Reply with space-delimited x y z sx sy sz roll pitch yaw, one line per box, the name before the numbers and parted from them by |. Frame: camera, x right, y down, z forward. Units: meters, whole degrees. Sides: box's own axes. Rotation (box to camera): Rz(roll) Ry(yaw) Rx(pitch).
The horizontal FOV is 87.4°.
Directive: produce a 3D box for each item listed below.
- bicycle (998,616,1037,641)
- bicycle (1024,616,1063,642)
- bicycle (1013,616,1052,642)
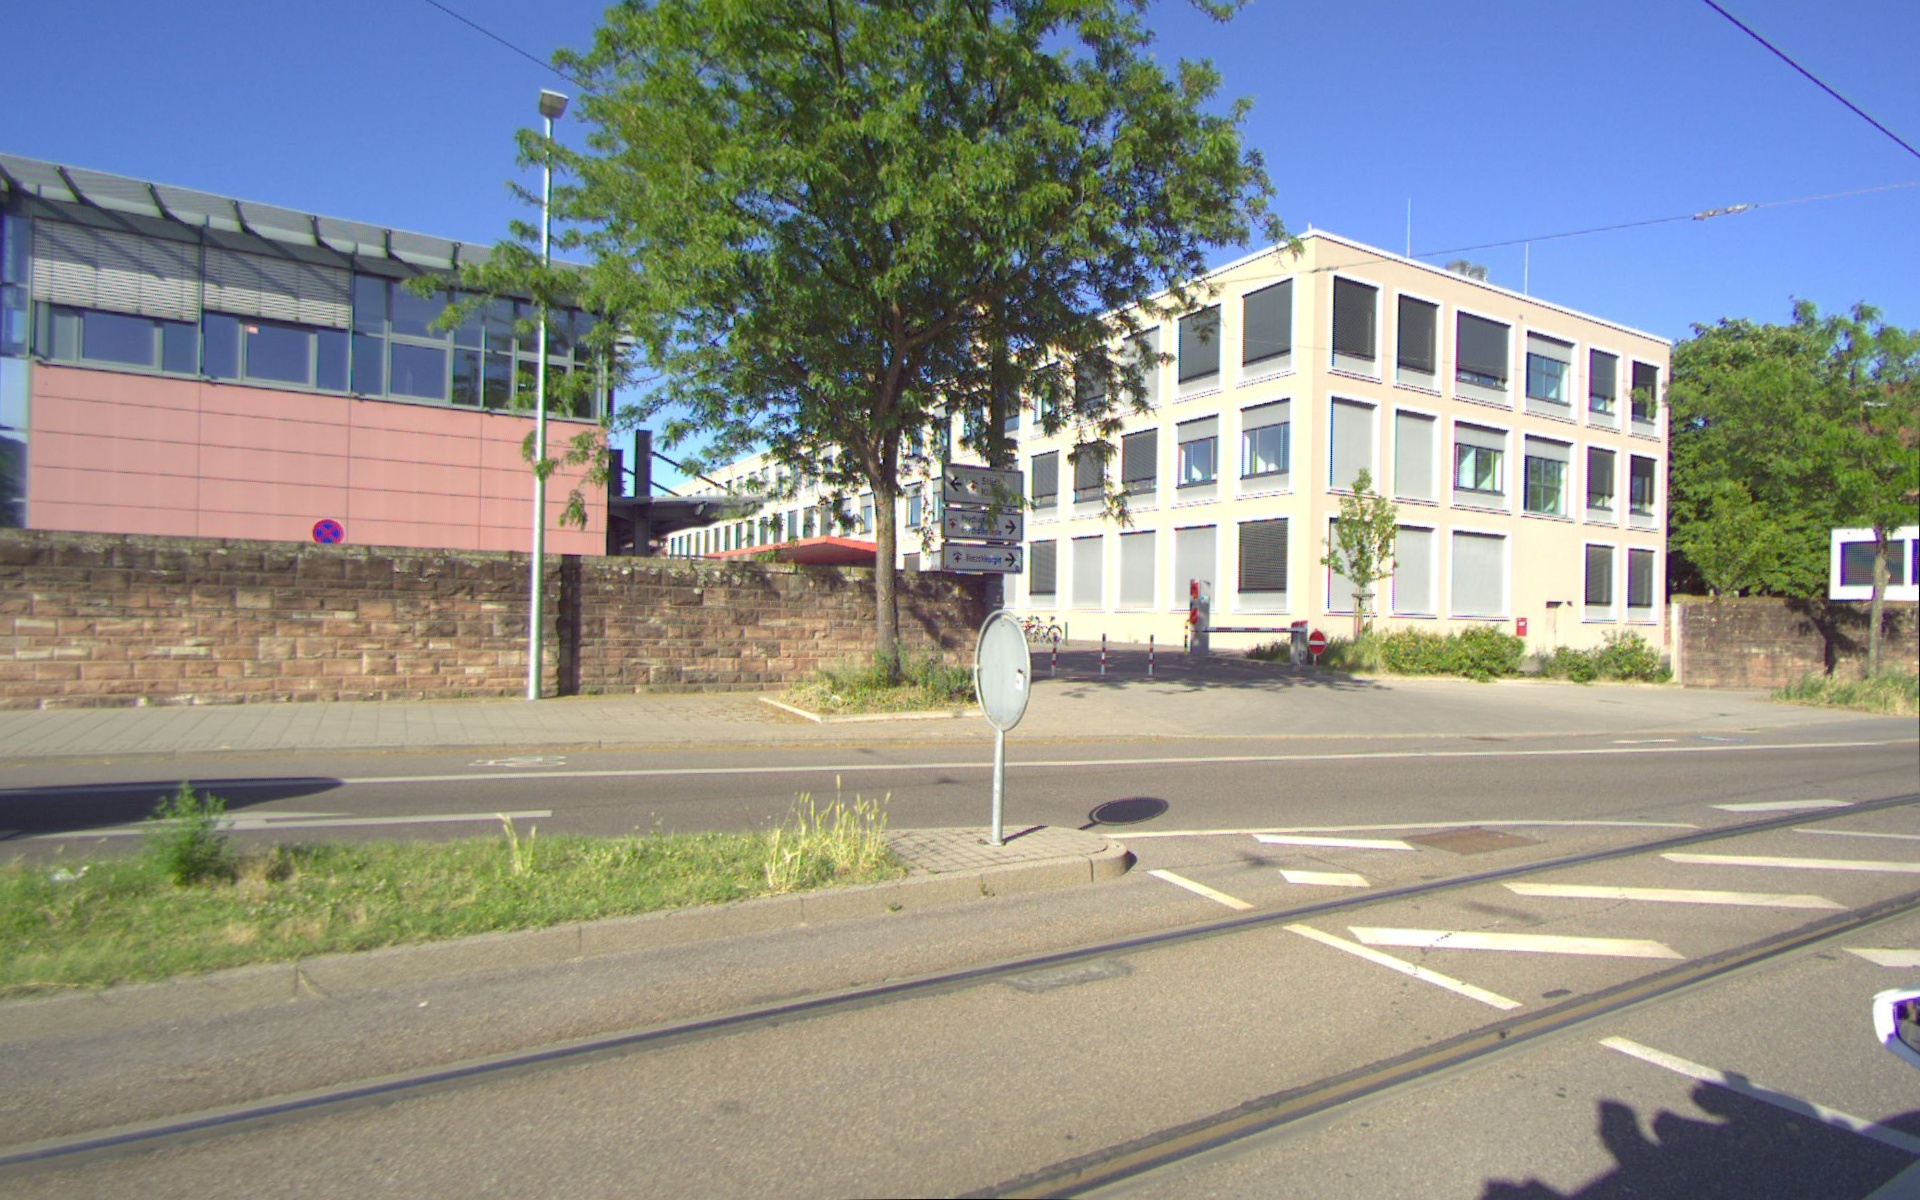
bicycle | 2.481 1.224 43.305 1.668 1.076 0.457 1 1 -32
bicycle | 3.467 1.207 41.652 1.683 1.075 0.457 2 -1 -35
bicycle | 3.064 1.228 42.285 1.668 1.075 0.457 2 -1 -31
